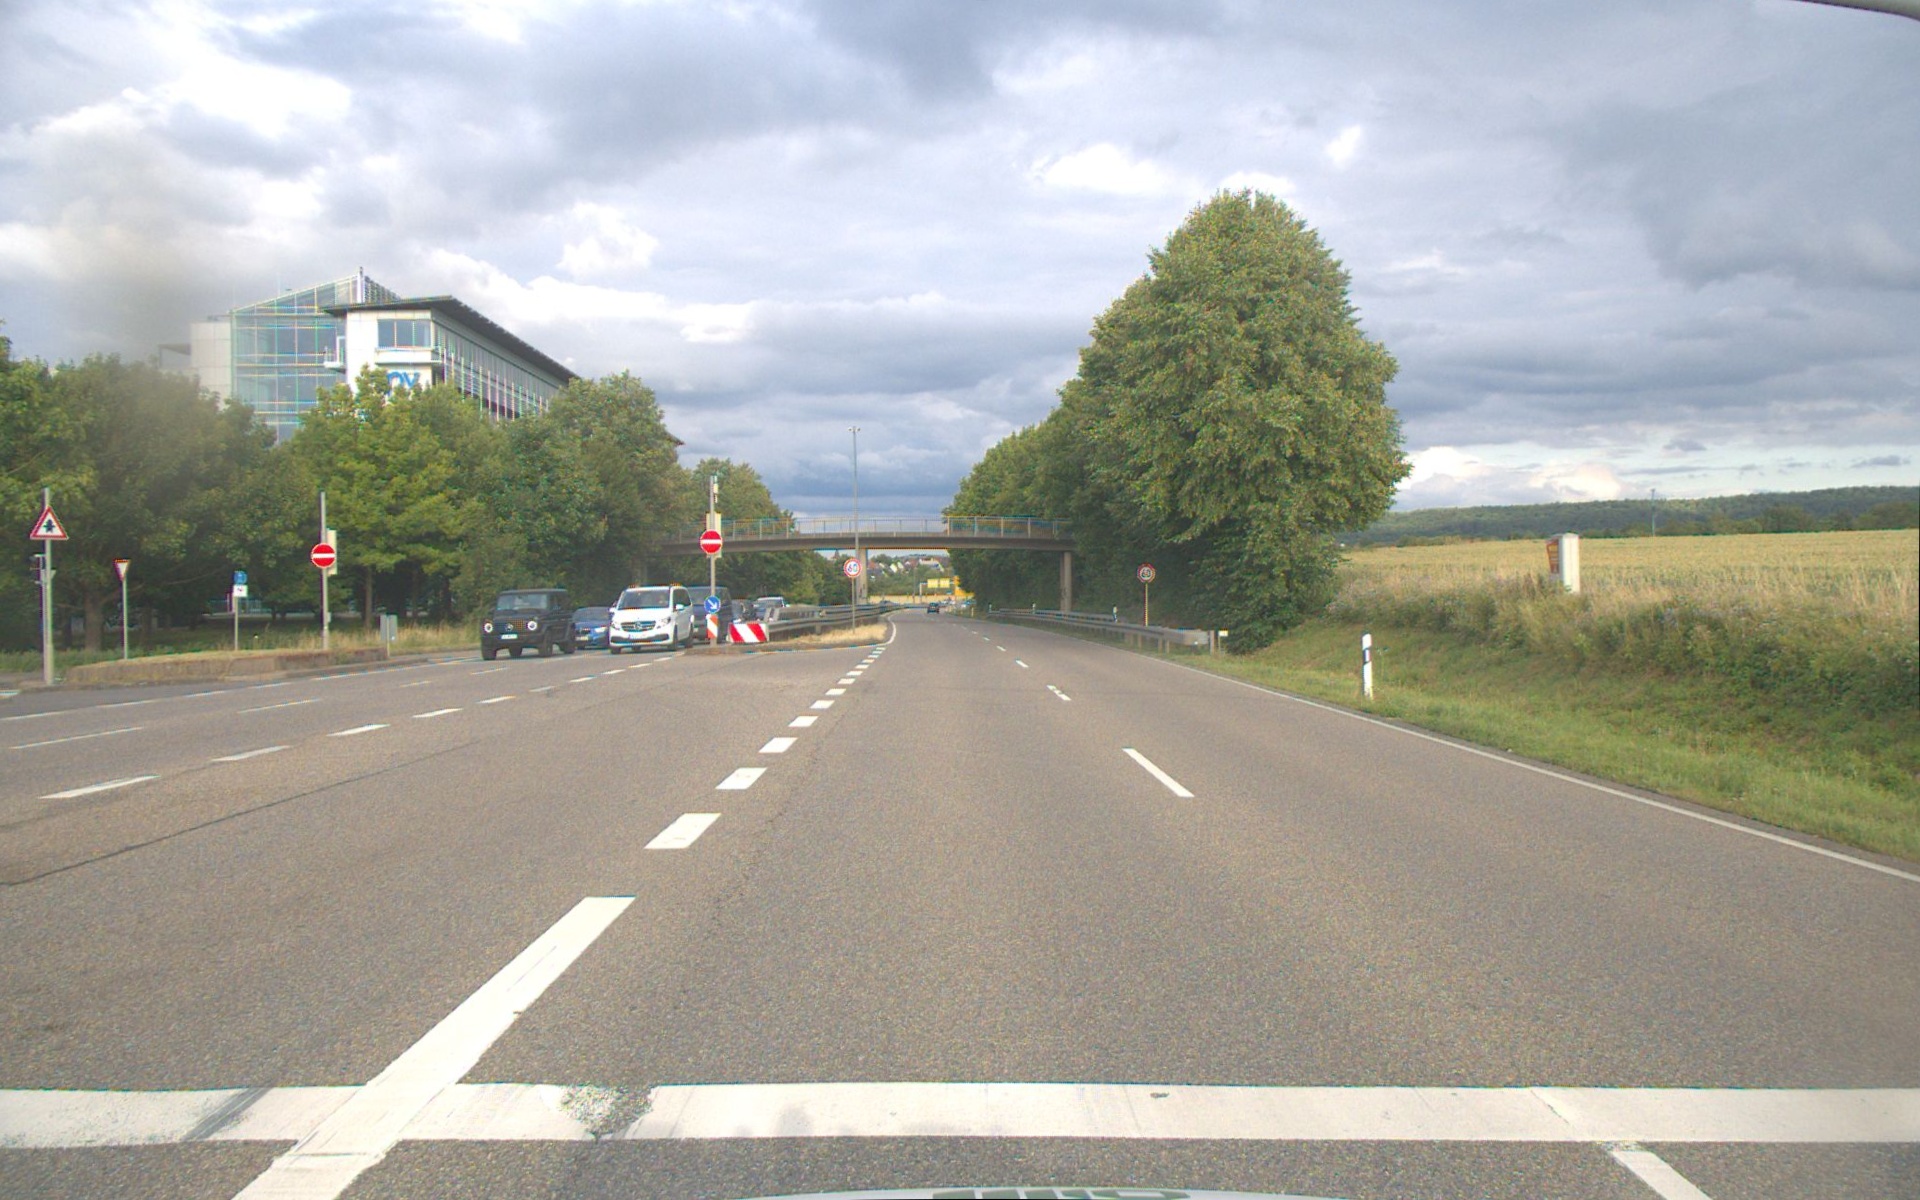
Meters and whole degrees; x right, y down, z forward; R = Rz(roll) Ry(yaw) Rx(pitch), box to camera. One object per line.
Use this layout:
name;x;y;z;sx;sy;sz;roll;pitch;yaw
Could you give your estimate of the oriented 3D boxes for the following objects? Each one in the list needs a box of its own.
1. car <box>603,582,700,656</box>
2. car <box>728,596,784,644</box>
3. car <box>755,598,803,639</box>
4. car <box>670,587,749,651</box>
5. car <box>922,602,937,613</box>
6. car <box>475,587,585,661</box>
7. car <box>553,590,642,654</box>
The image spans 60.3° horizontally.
car;-9.107;0.545;49.222;2.041;2.049;5.214;1;0;-2
car;-9.252;0.893;75.498;2.041;2.049;5.214;1;0;-2
car;-9.378;0.945;85.892;2.041;2.049;5.214;1;0;-2
car;-8.567;0.641;56.966;2.041;2.049;5.214;1;0;-2
car;-4.570;1.079;246.354;1.843;1.579;3.995;1;0;-5
car;-12.667;0.684;49.056;2.041;2.049;5.214;1;0;-2
car;-12.331;0.730;56.562;2.041;2.049;5.214;1;0;-2
